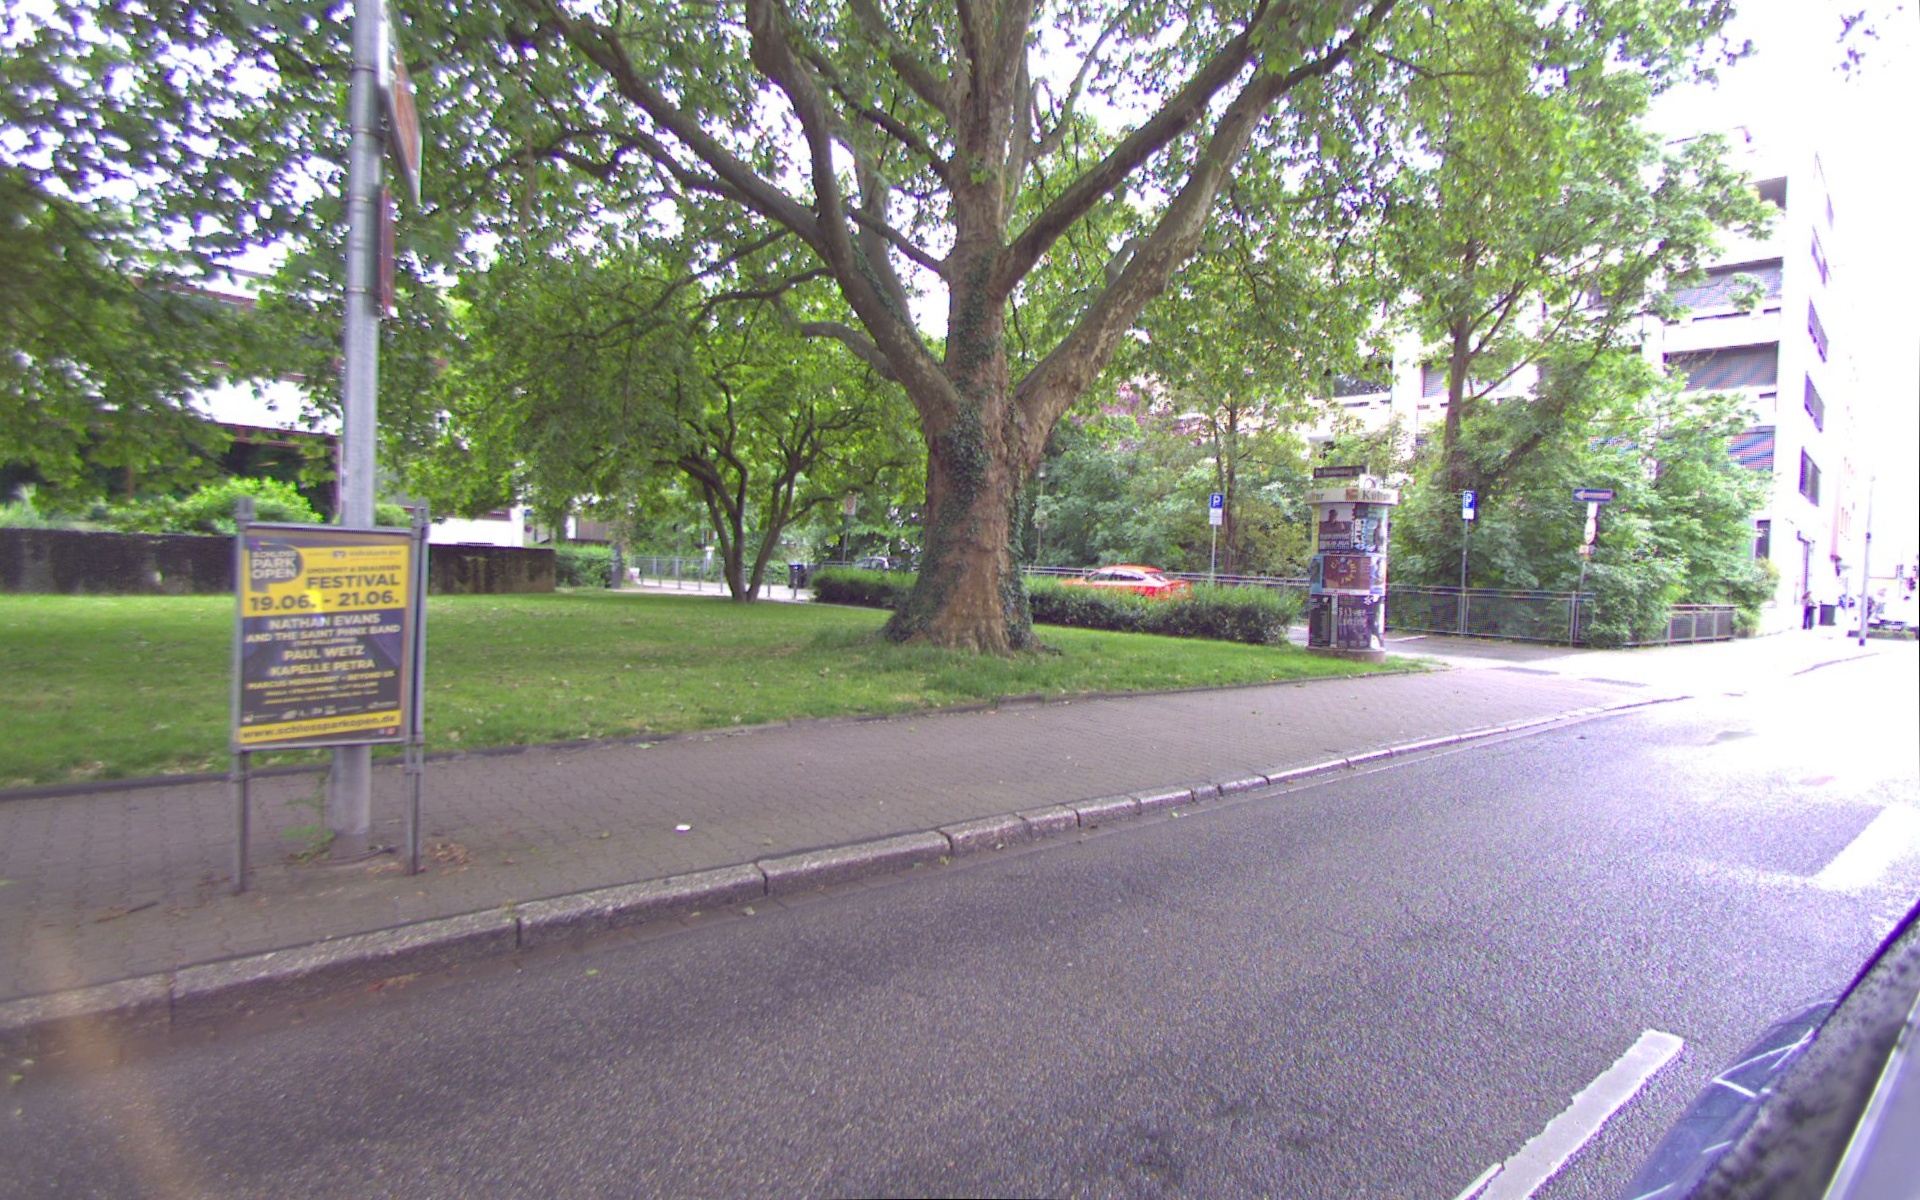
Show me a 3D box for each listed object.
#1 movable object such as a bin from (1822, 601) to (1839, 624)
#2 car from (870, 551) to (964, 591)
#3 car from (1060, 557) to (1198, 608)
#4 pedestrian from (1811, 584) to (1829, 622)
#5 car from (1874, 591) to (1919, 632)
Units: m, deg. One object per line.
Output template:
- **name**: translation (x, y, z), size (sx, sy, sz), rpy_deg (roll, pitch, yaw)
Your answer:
- **movable object such as a bin**: translation (41.905, 0.615, 48.715), size (0.287, 1.054, 0.556), rpy_deg (0, 3, -41)
- **car**: translation (-1.593, -1.060, 36.573), size (3.460, 1.294, 1.426), rpy_deg (5, 4, 45)
- **car**: translation (4.866, -0.543, 29.527), size (1.551, 1.294, 3.784), rpy_deg (-1, 4, -44)
- **pedestrian**: translation (35.070, 0.131, 41.253), size (0.473, 1.549, 0.480), rpy_deg (0, 0, -41)
- **car**: translation (37.399, 0.451, 39.741), size (3.617, 1.449, 1.681), rpy_deg (0, 6, -41)
